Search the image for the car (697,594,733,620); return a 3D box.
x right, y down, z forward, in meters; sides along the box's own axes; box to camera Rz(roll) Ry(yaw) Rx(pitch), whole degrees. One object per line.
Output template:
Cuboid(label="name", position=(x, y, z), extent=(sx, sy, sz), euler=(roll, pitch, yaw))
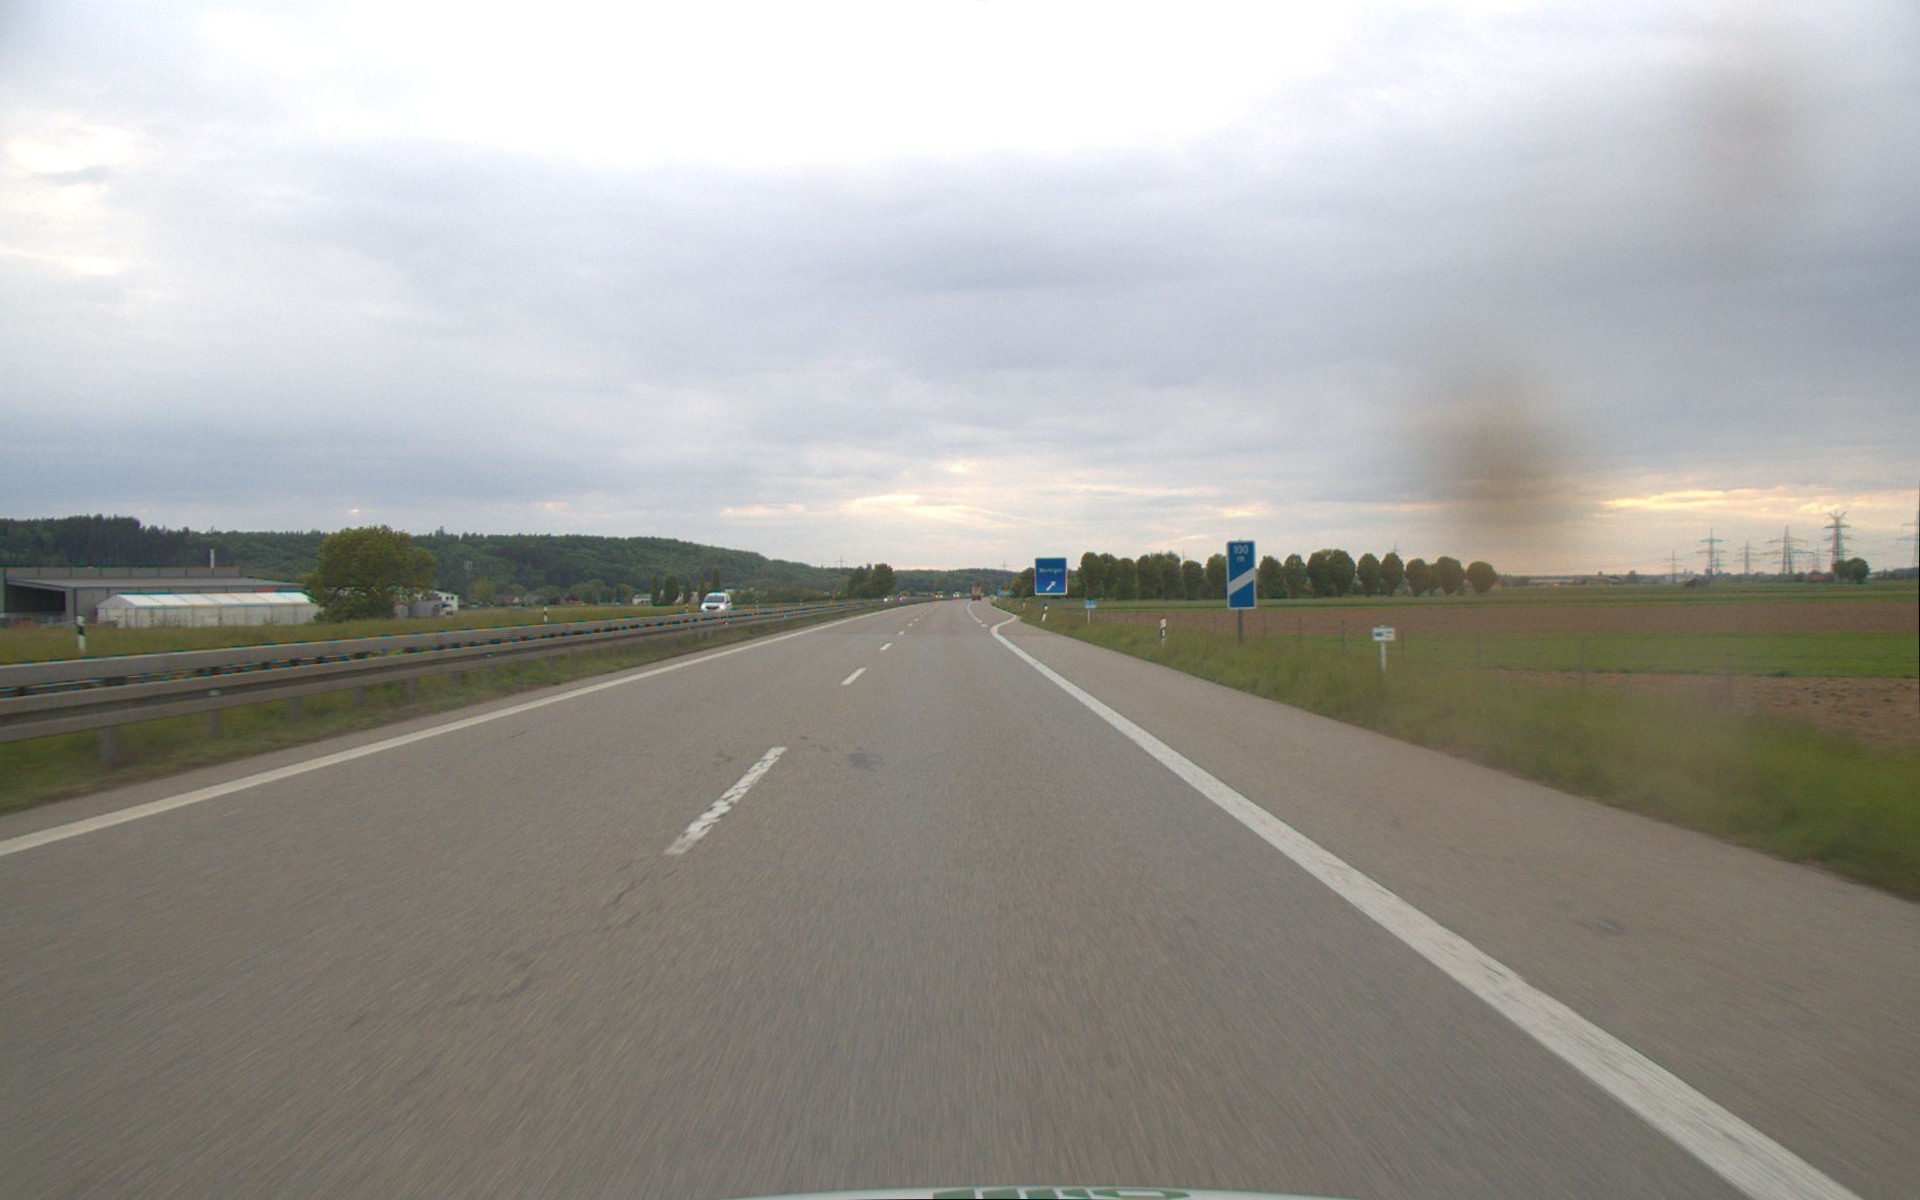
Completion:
Cuboid(label="car", position=(-17.847, 0.513, 120.849), extent=(1.953, 1.796, 4.950), euler=(1, 0, -1))
